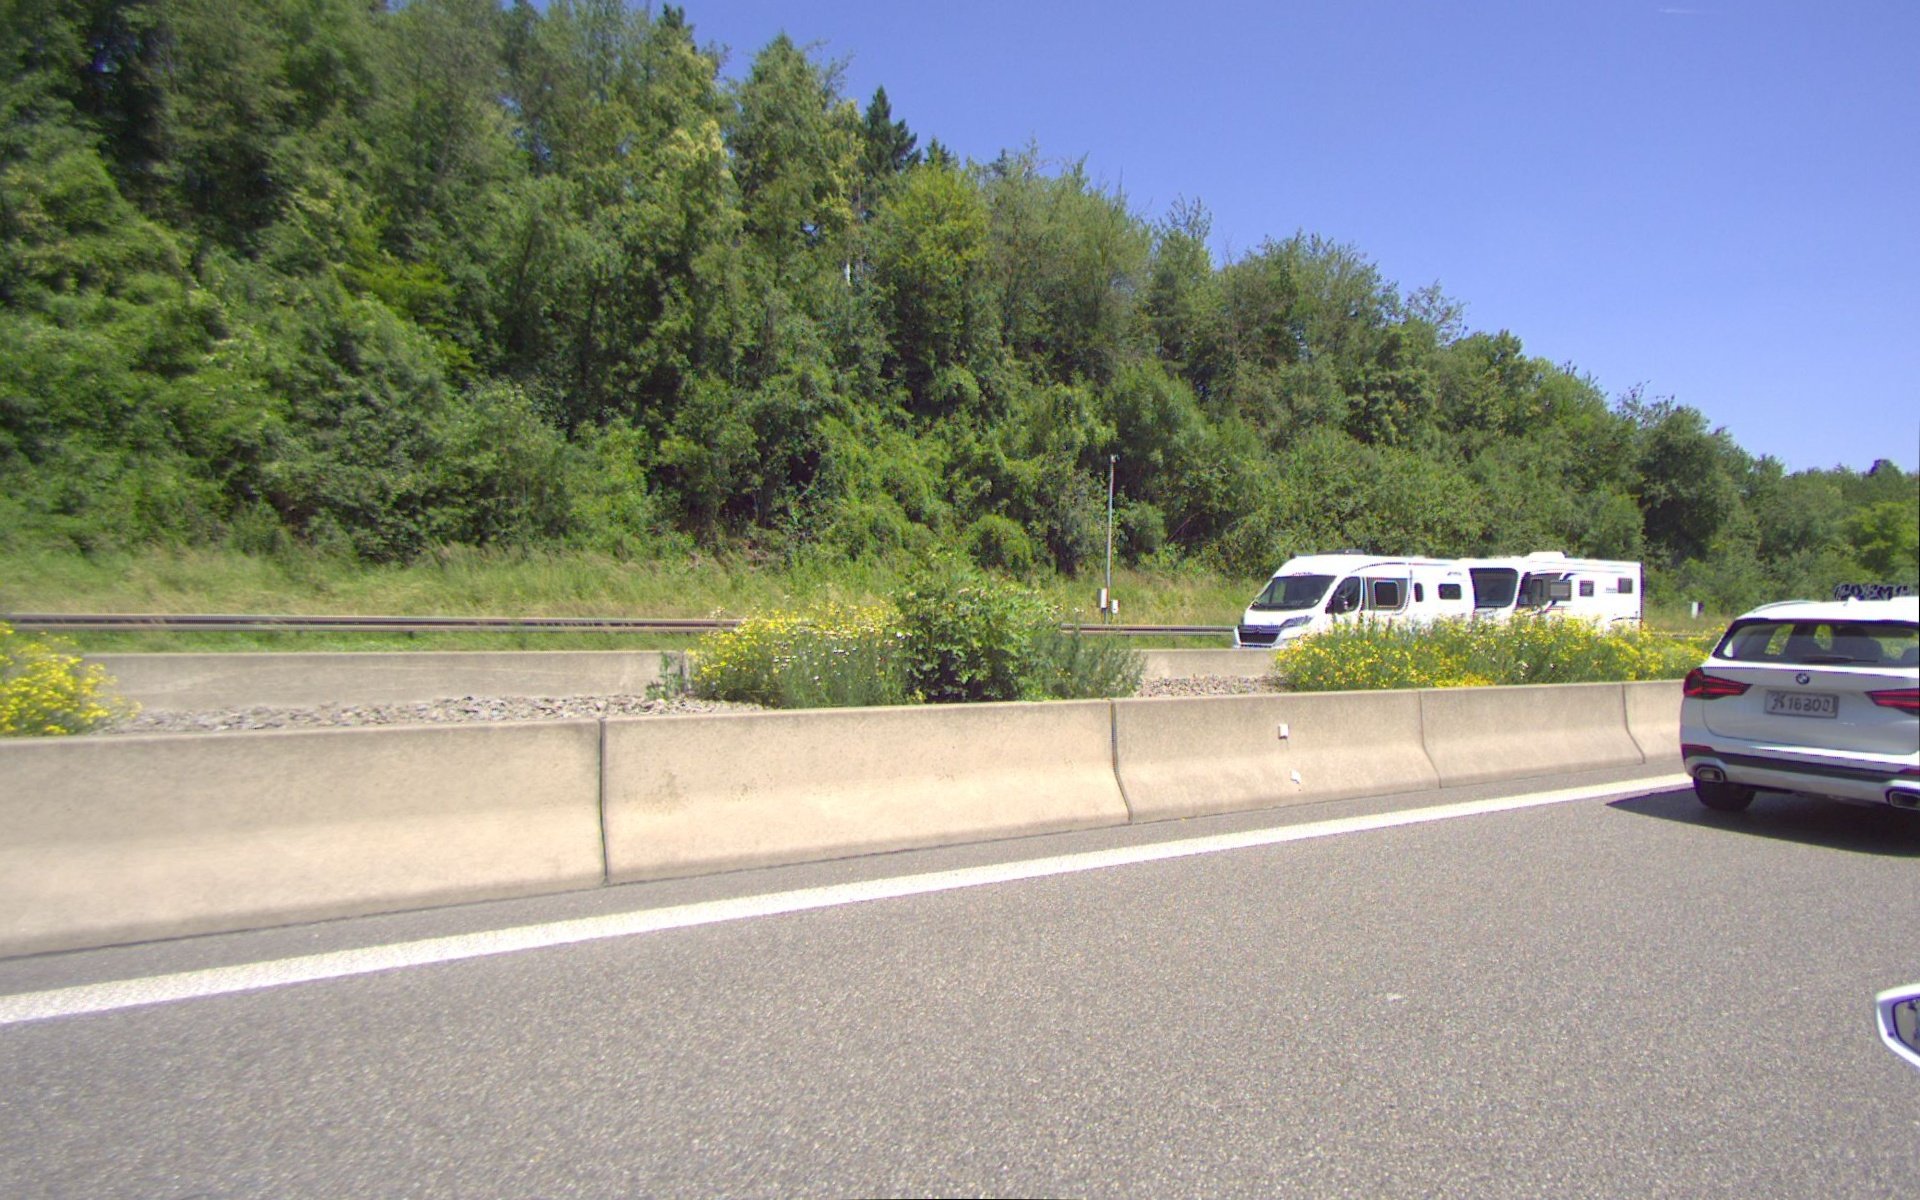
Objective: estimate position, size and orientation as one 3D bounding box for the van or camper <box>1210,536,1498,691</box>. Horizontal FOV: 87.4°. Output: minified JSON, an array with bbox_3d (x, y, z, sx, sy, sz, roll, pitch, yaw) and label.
[{"bbox_3d":[8.593,0.331,21.644,6.480,2.938,2.246,2,0,-31],"label":"van or camper"}]

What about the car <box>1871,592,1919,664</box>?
[{"bbox_3d":[39.398,1.134,40.692,5.682,2.778,2.189,1,0,-32],"label":"car"}]

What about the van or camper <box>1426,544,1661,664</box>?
[{"bbox_3d":[18.832,0.263,32.181,8.901,3.361,2.527,3,-1,-31],"label":"van or camper"}]

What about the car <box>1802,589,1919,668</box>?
[{"bbox_3d":[24.363,0.731,26.508,3.952,1.951,1.985,1,0,-29],"label":"car"}]

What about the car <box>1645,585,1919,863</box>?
[{"bbox_3d":[7.720,0.832,8.031,4.900,1.717,1.854,2,-1,-31],"label":"car"}]
